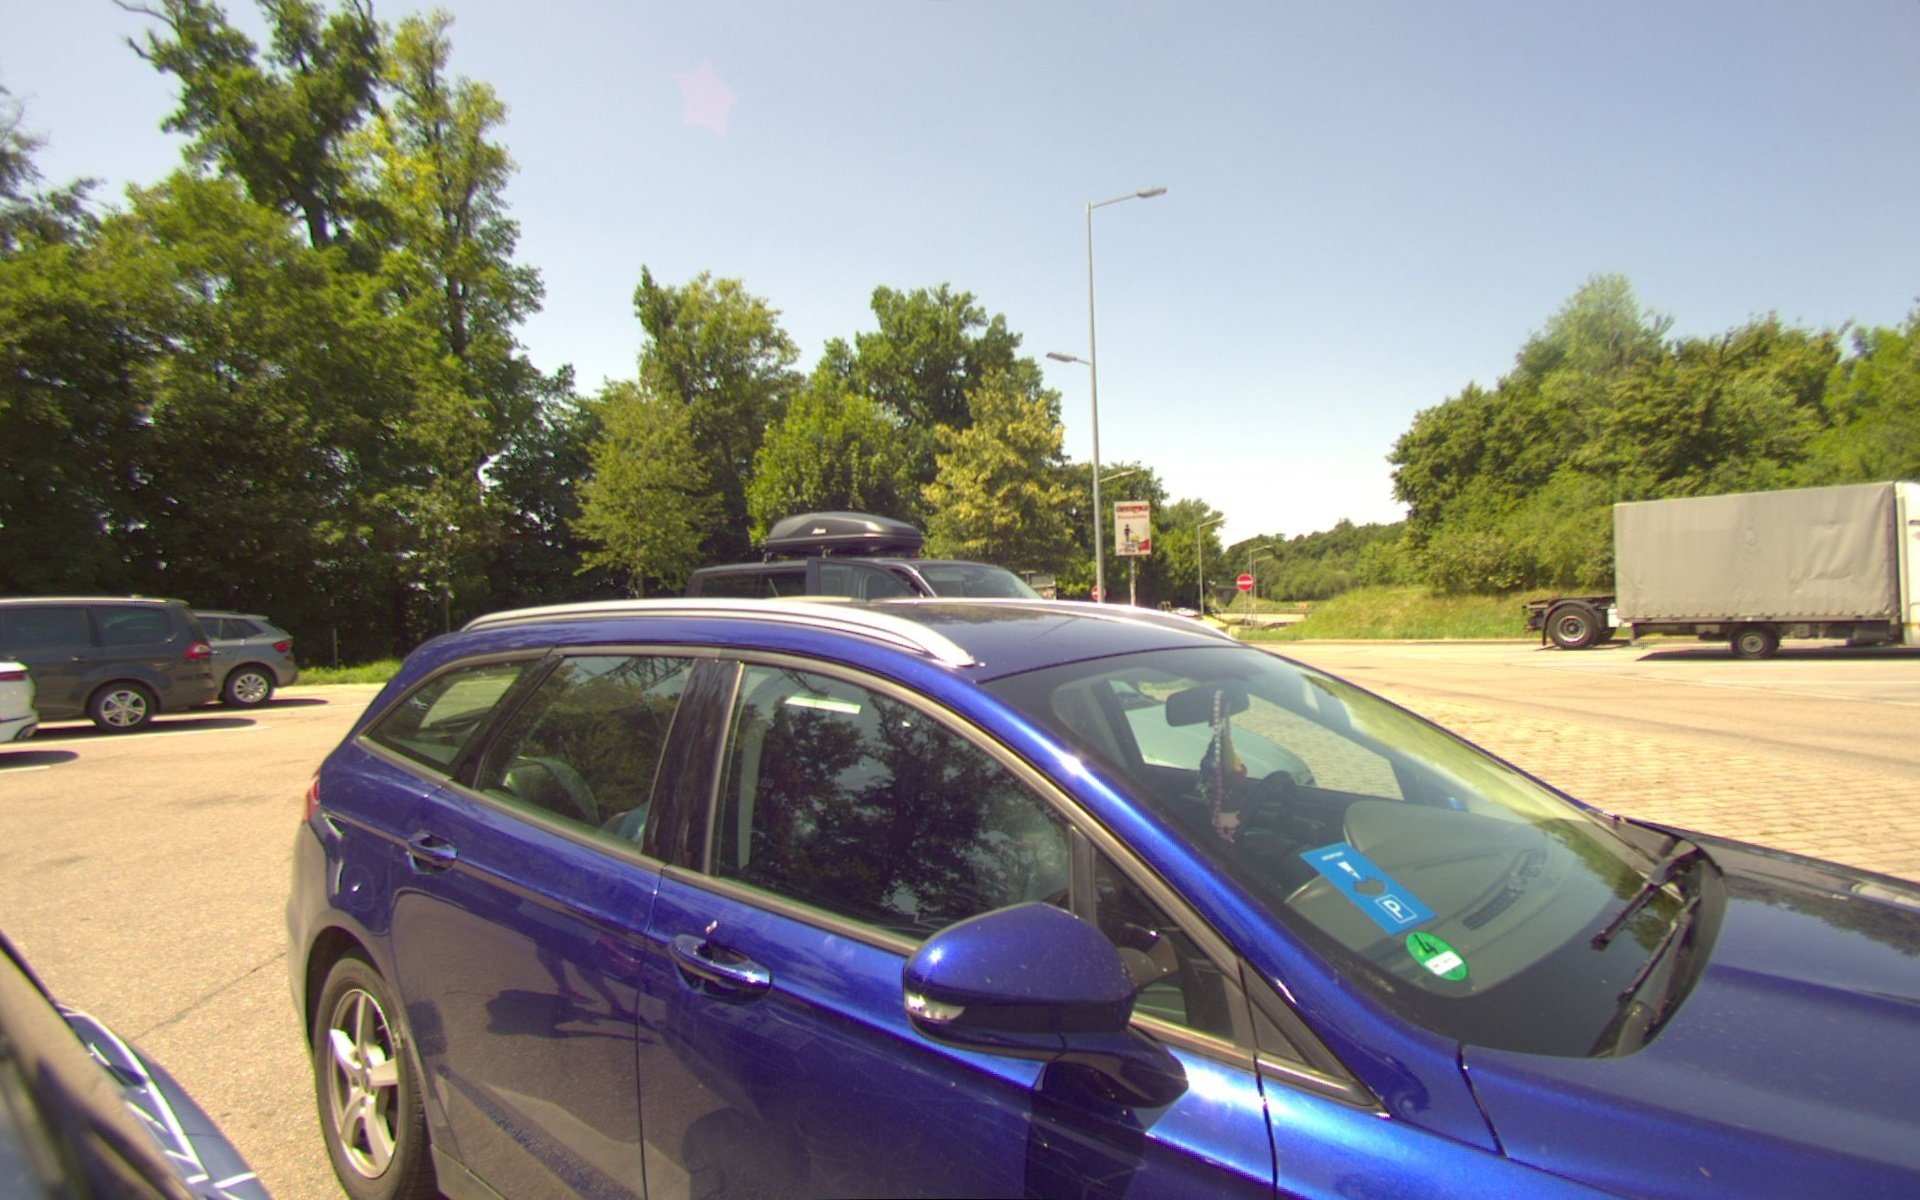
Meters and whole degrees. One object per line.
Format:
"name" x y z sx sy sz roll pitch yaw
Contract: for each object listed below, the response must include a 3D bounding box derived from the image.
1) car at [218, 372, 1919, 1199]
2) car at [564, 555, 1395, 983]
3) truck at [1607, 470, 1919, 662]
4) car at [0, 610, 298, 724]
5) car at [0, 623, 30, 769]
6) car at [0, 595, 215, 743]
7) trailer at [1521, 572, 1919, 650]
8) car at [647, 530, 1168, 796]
"car" 0.253 0.633 2.075 4.637 1.493 1.720 -2 -1 39
"car" -0.209 0.670 5.787 4.637 1.545 1.720 -2 0 39
"truck" 16.714 -0.611 18.933 7.337 3.235 2.502 -4 -1 41
"car" -12.586 0.954 15.706 3.762 1.551 1.724 0 -1 -38
"car" -10.990 0.932 9.161 3.767 1.396 1.722 0 -1 -43
"car" -11.648 0.821 12.625 3.762 1.737 1.724 0 -1 -38
"trailer" 17.643 0.300 23.155 8.088 1.385 2.200 -4 -1 41
"car" -0.652 0.507 9.361 4.635 1.884 1.937 -2 0 37
